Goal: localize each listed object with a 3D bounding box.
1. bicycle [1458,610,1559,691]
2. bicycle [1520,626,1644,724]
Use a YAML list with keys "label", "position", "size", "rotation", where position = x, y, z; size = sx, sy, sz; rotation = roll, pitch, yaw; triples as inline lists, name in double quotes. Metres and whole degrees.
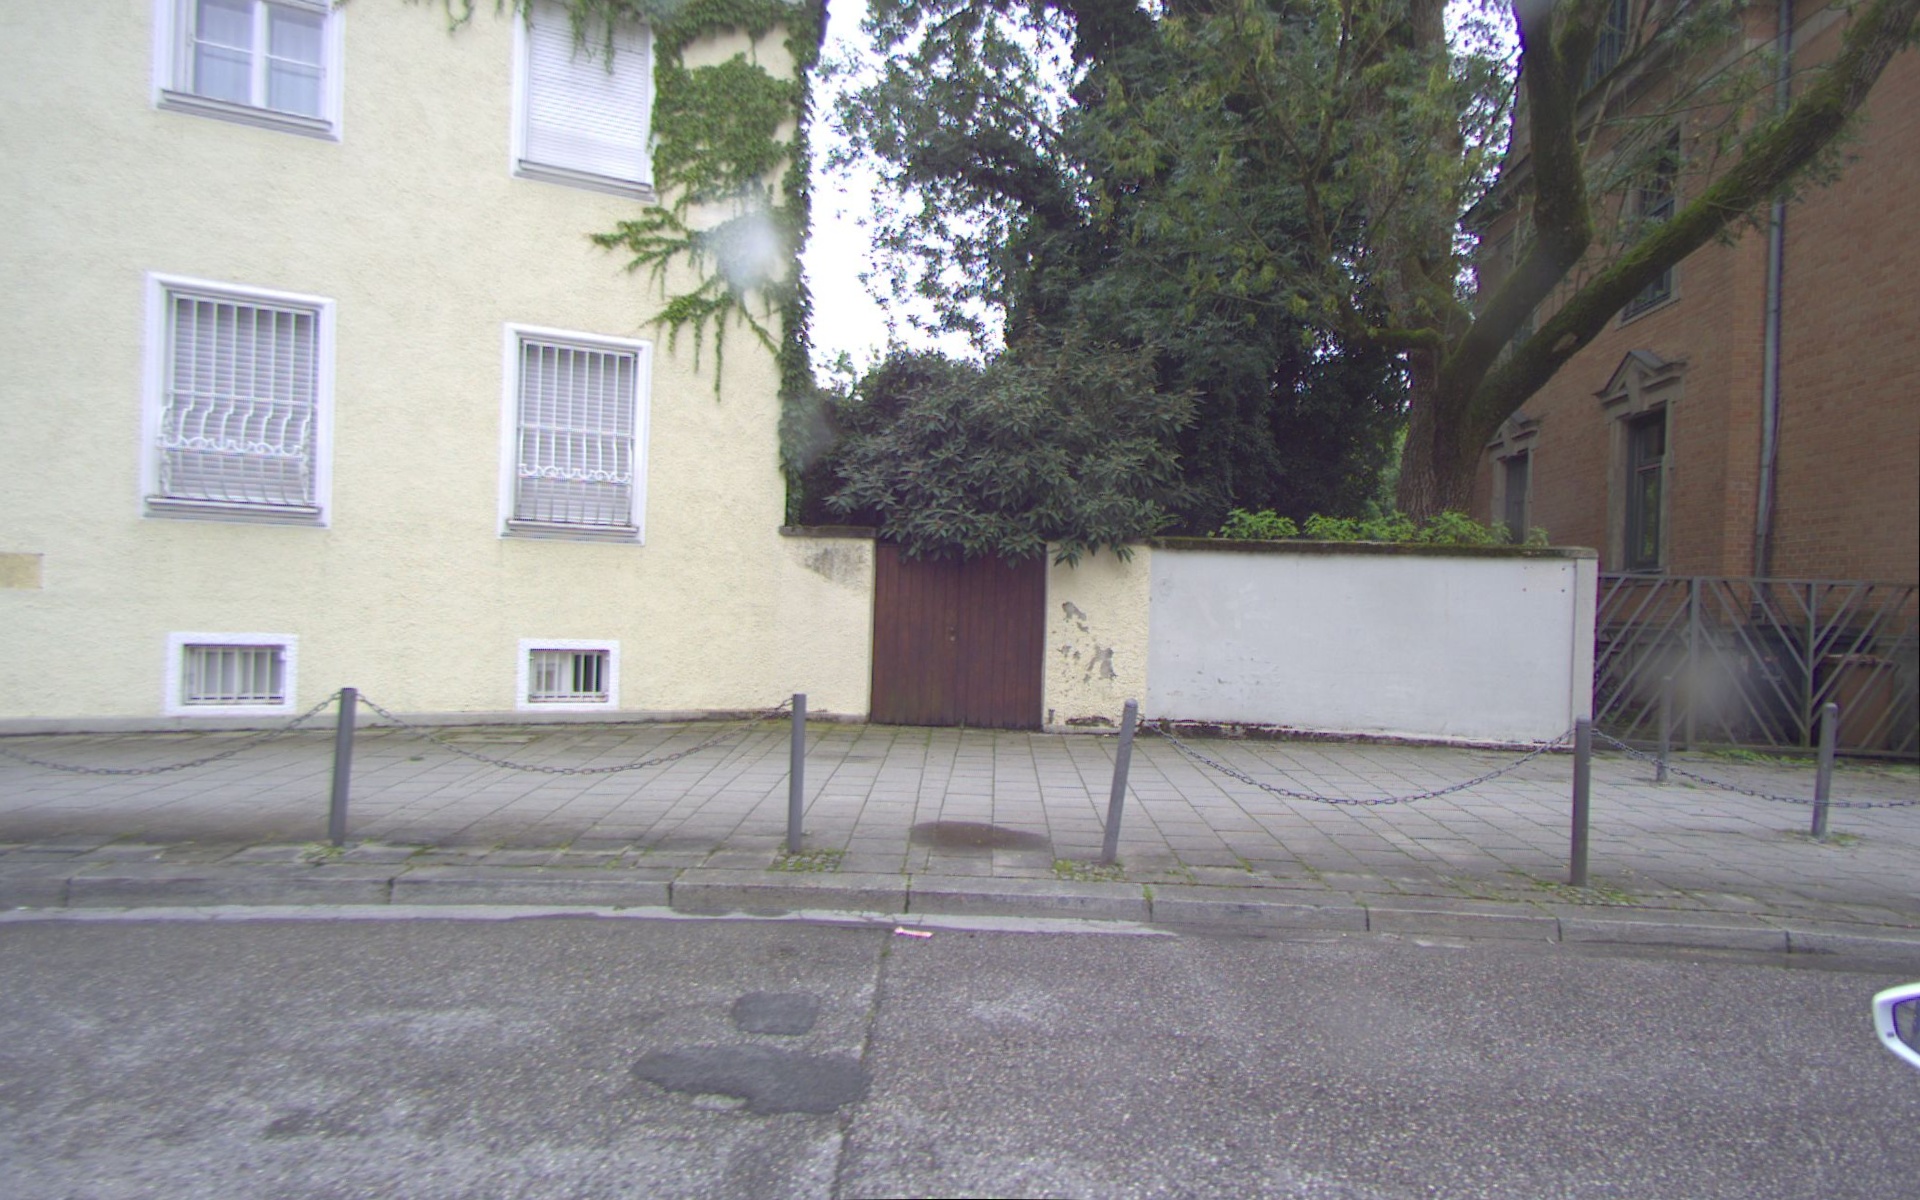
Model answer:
- label: "bicycle"
  position: [8.854, 0.791, 16.328]
  size: [0.525, 1.196, 2.303]
  rotation: [2, -1, 5]
- label: "bicycle"
  position: [8.544, 0.983, 13.895]
  size: [0.525, 1.235, 2.084]
  rotation: [2, -1, 4]
